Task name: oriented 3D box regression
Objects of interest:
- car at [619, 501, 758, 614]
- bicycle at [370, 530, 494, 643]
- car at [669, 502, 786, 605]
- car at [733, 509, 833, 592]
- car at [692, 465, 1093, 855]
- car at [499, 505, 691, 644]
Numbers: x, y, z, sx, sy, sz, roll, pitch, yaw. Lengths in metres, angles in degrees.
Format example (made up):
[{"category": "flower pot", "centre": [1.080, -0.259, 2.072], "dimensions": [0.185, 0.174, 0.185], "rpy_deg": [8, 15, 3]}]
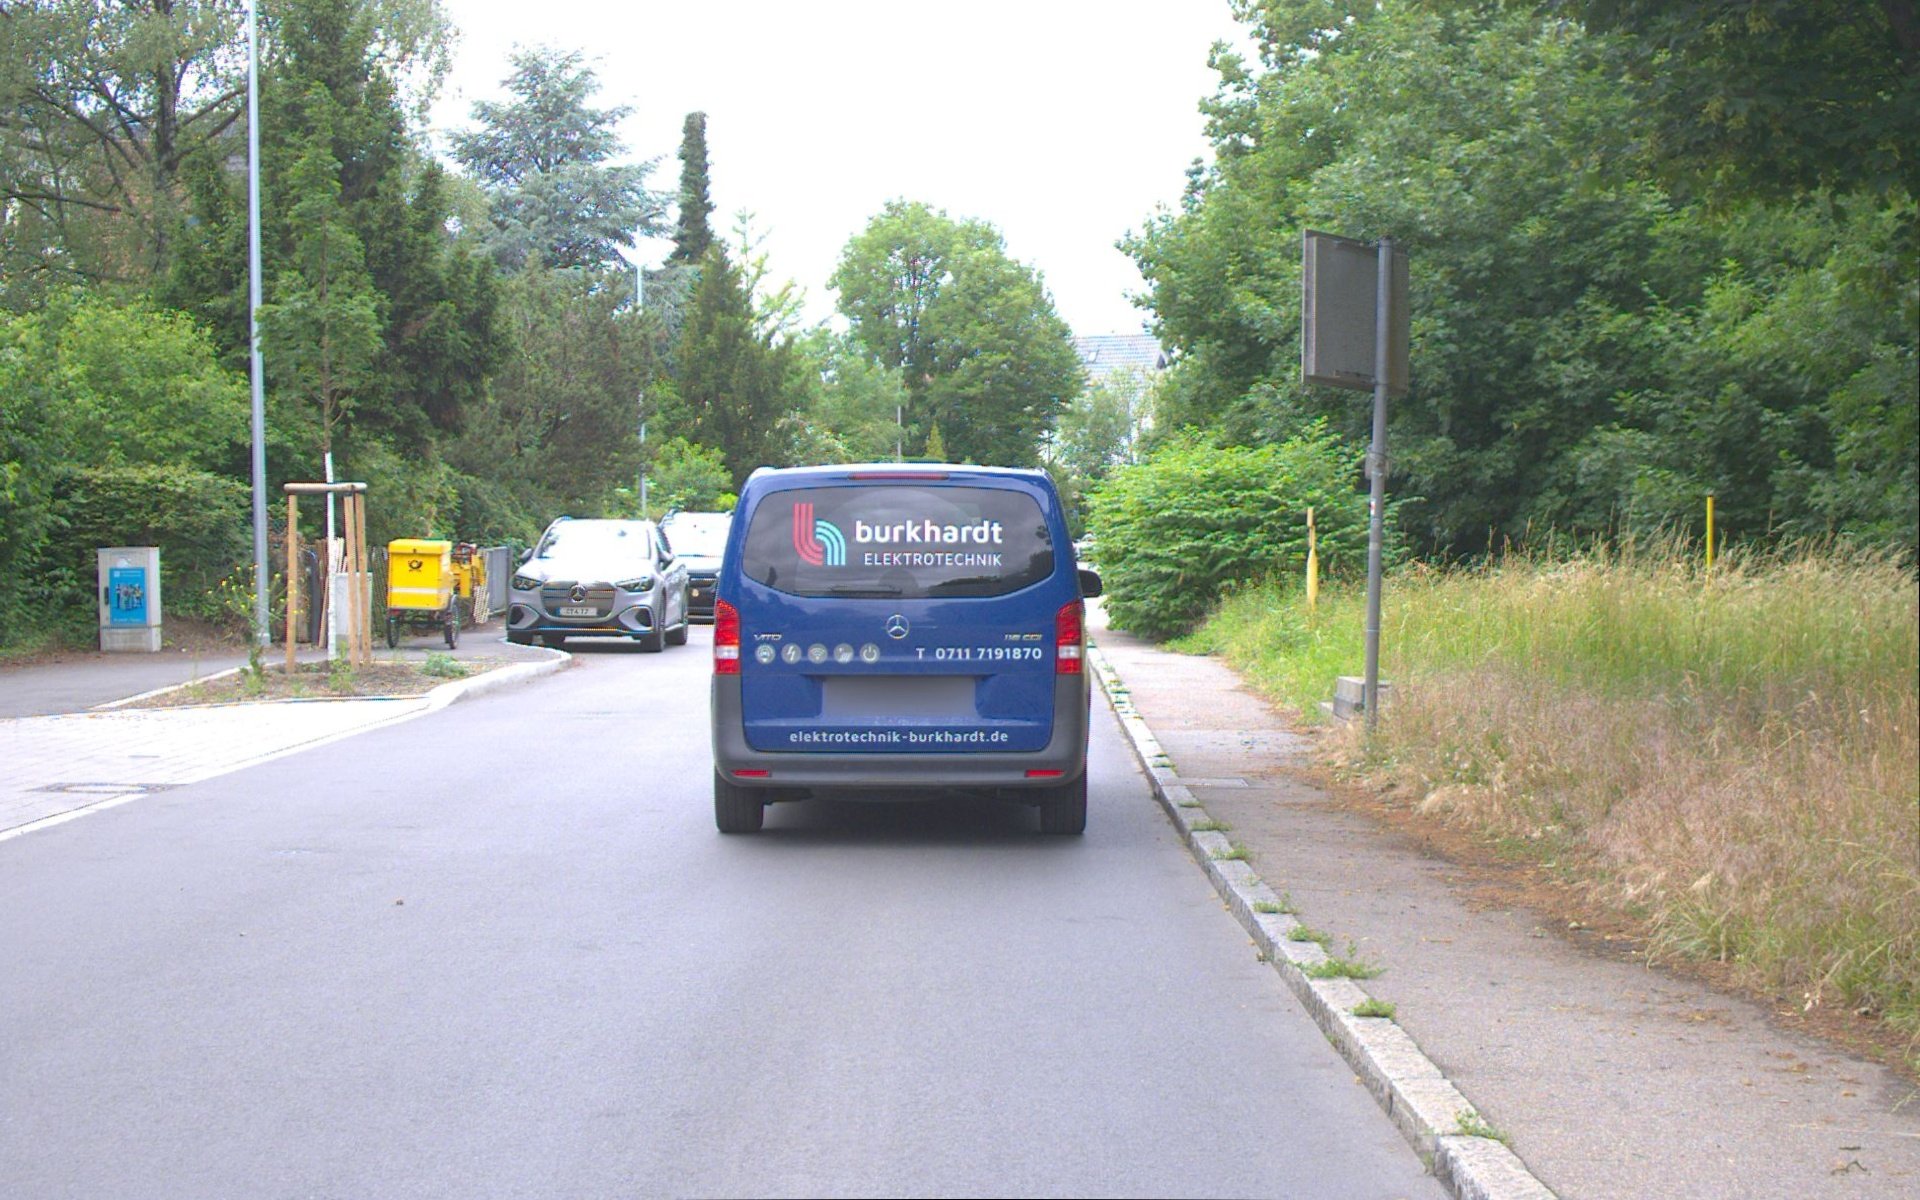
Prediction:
[{"category": "car", "centre": [-4.404, -0.725, 56.214], "dimensions": [1.832, 1.745, 4.000], "rpy_deg": [1, 2, 1]}, {"category": "bicycle", "centre": [-6.182, -0.183, 40.418], "dimensions": [0.906, 1.247, 2.916], "rpy_deg": [2, 1, 1]}, {"category": "car", "centre": [-4.190, -0.836, 62.377], "dimensions": [1.831, 1.798, 4.000], "rpy_deg": [1, 1, 0]}, {"category": "car", "centre": [-3.971, -1.138, 77.853], "dimensions": [1.892, 1.686, 4.549], "rpy_deg": [1, 3, 1]}, {"category": "car", "centre": [-0.415, 0.205, 18.219], "dimensions": [1.888, 1.837, 4.001], "rpy_deg": [0, 2, -3]}, {"category": "car", "centre": [-4.545, -0.354, 43.316], "dimensions": [1.836, 1.625, 4.300], "rpy_deg": [1, 1, 1]}]
